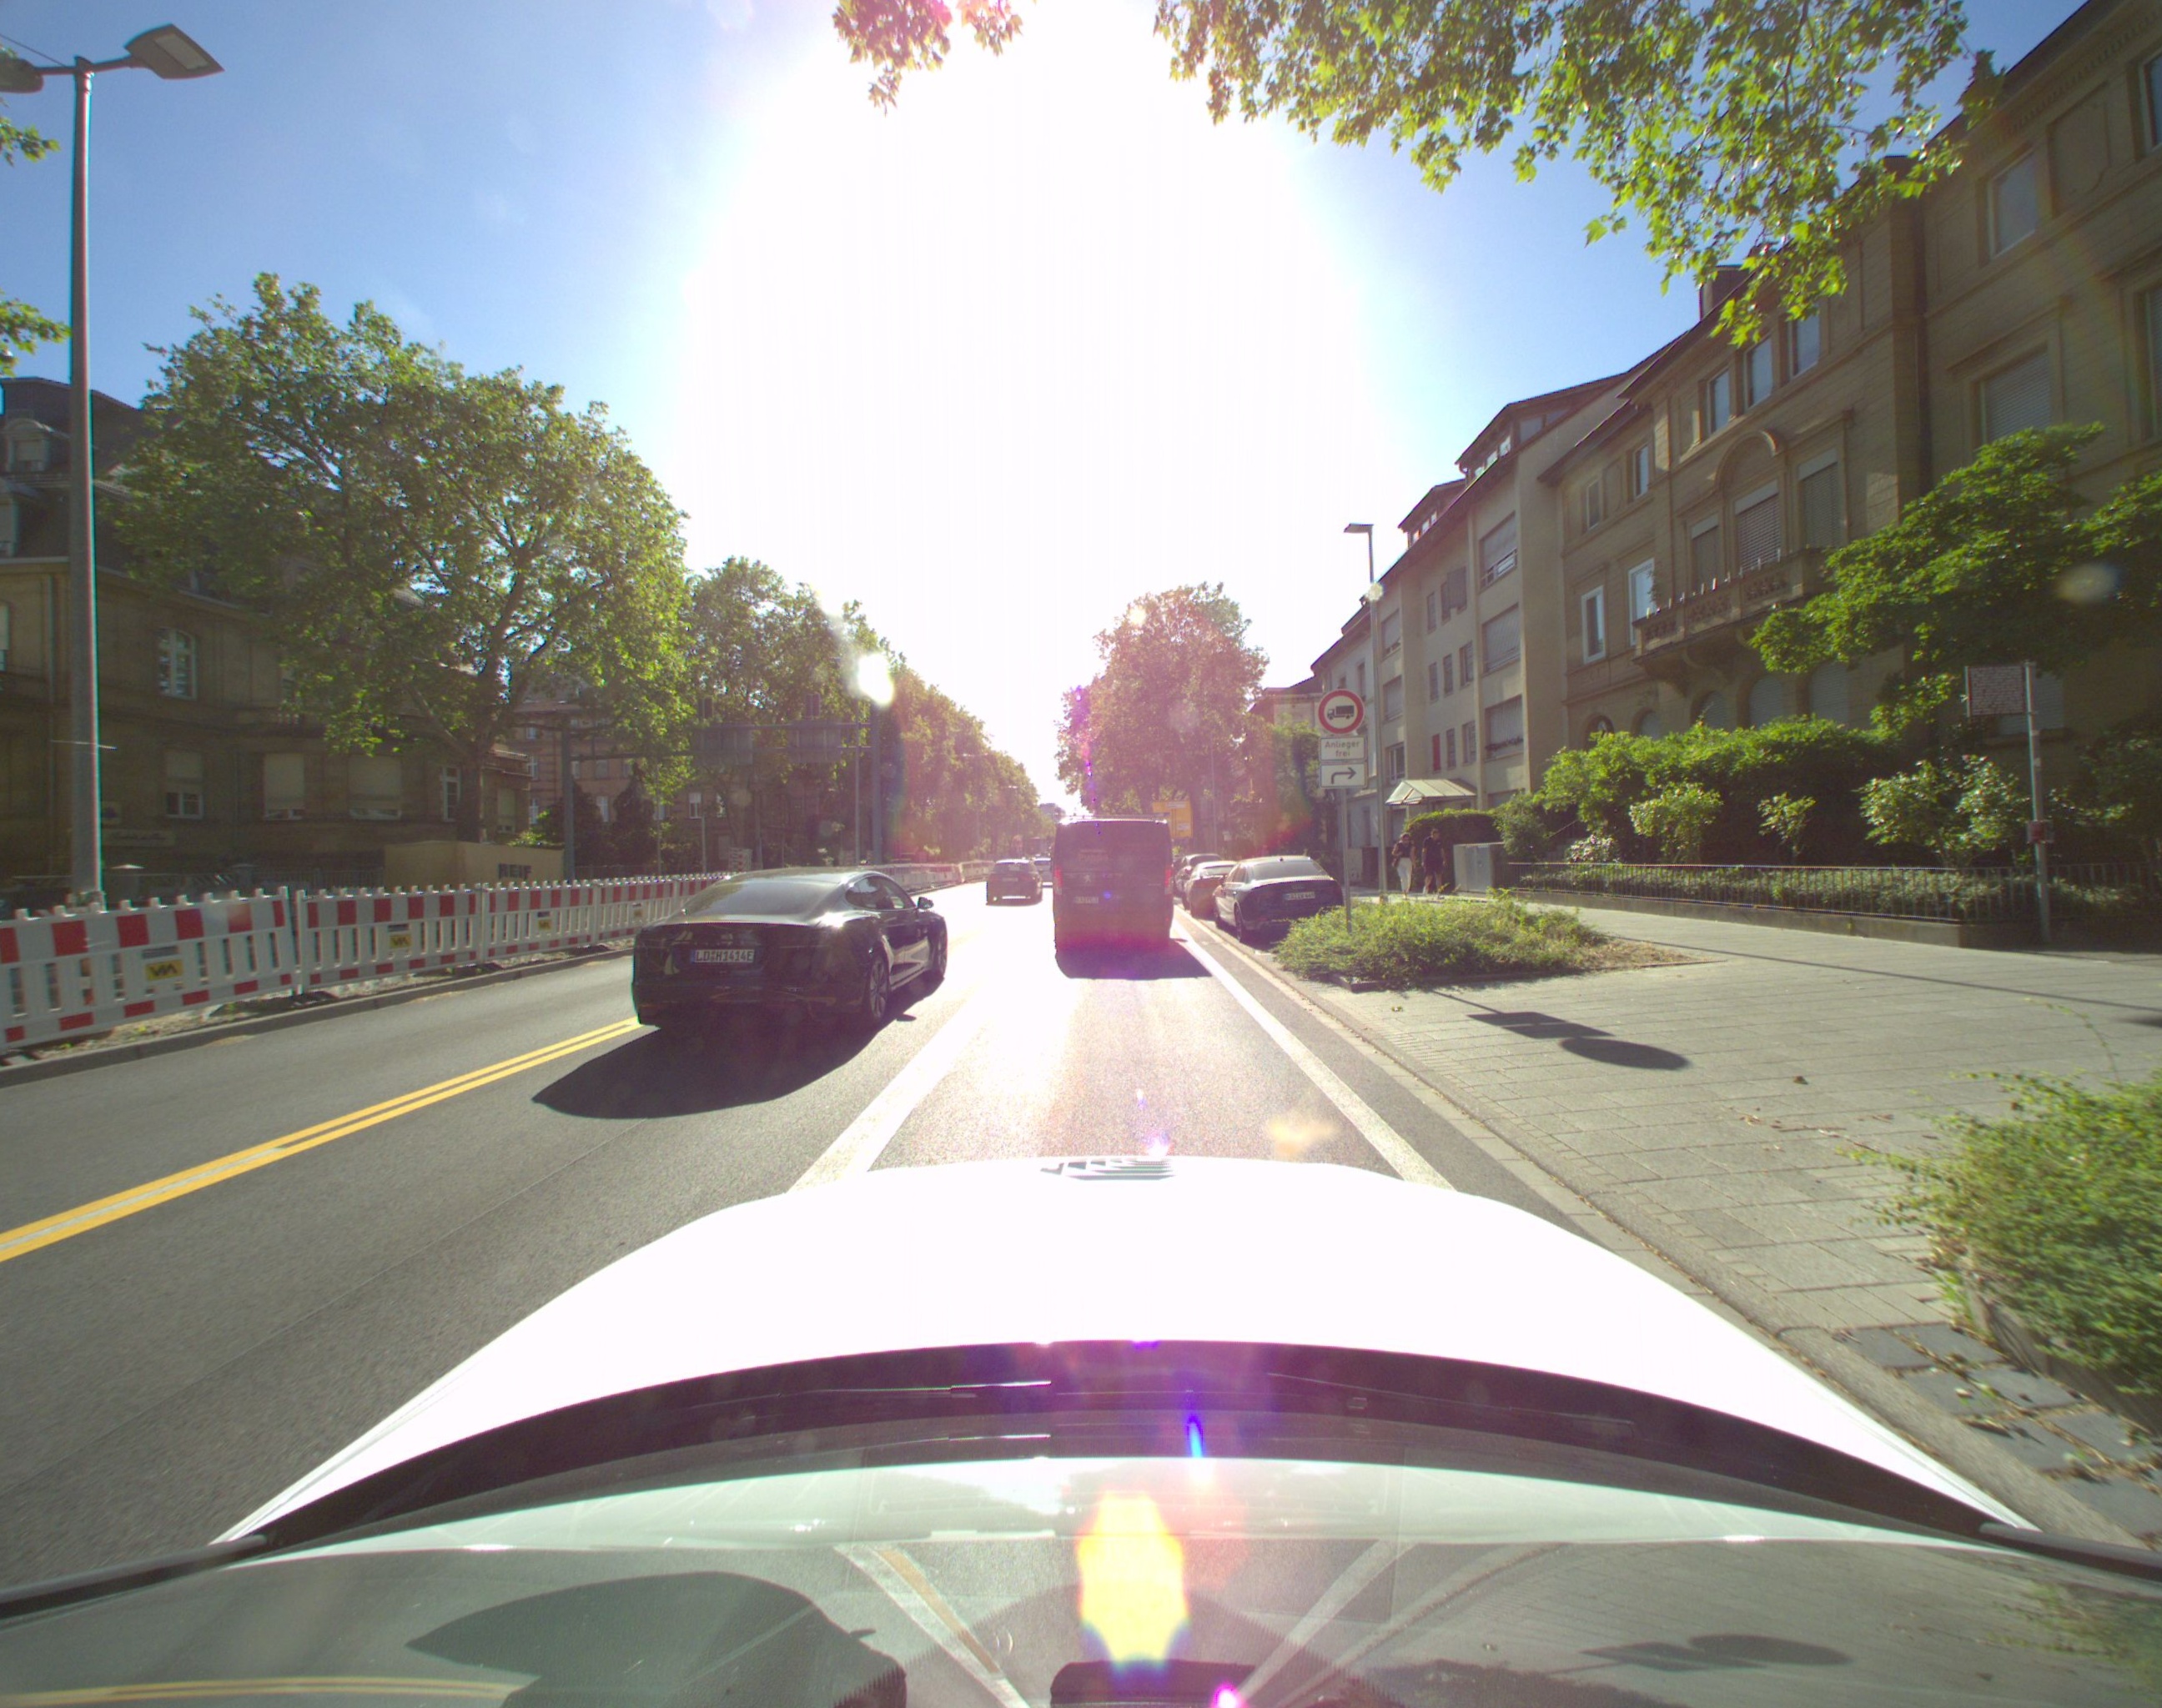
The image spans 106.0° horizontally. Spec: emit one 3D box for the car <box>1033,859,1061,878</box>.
[{"bbox_3d":[-2.824,1.191,68.830,1.986,1.470,4.003,0,1,2],"label":"car"}]

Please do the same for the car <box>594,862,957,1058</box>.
[{"bbox_3d":[-2.702,0.835,8.562,1.918,1.412,4.628,1,0,2],"label":"car"}]

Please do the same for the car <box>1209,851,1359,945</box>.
[{"bbox_3d":[3.631,0.722,15.434,1.837,1.442,4.489,-2,0,2],"label":"car"}]

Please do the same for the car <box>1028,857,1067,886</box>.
[{"bbox_3d":[-1.693,0.869,42.177,1.541,1.425,3.559,-2,0,4],"label":"car"}]

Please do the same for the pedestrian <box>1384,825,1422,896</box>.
[{"bbox_3d":[8.143,0.162,20.616,0.671,1.755,0.877,-2,-1,11],"label":"pedestrian"}]

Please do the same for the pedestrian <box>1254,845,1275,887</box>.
[{"bbox_3d":[8.949,0.566,39.722,0.794,2.013,1.170,-2,-1,6],"label":"pedestrian"}]

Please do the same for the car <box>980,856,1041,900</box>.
[{"bbox_3d":[-2.373,0.778,28.315,1.740,1.407,3.999,0,0,0],"label":"car"}]

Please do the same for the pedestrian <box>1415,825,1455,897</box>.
[{"bbox_3d":[8.842,0.171,20.385,0.650,1.755,1.016,-2,-1,11],"label":"pedestrian"}]

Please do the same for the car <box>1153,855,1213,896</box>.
[{"bbox_3d":[3.989,0.811,32.333,1.838,1.408,3.800,-3,0,0],"label":"car"}]

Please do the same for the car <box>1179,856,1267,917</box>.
[{"bbox_3d":[3.659,0.784,21.607,1.836,1.408,3.804,-2,0,3],"label":"car"}]

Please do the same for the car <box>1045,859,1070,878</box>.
[{"bbox_3d":[-1.633,1.006,56.613,1.415,1.225,3.440,-2,0,3],"label":"car"}]

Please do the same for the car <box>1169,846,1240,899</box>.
[{"bbox_3d":[4.232,0.615,28.388,1.838,1.644,3.800,-3,0,0],"label":"car"}]

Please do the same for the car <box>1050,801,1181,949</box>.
[{"bbox_3d":[0.586,0.323,15.149,2.088,2.355,3.933,-1,0,1],"label":"car"}]
